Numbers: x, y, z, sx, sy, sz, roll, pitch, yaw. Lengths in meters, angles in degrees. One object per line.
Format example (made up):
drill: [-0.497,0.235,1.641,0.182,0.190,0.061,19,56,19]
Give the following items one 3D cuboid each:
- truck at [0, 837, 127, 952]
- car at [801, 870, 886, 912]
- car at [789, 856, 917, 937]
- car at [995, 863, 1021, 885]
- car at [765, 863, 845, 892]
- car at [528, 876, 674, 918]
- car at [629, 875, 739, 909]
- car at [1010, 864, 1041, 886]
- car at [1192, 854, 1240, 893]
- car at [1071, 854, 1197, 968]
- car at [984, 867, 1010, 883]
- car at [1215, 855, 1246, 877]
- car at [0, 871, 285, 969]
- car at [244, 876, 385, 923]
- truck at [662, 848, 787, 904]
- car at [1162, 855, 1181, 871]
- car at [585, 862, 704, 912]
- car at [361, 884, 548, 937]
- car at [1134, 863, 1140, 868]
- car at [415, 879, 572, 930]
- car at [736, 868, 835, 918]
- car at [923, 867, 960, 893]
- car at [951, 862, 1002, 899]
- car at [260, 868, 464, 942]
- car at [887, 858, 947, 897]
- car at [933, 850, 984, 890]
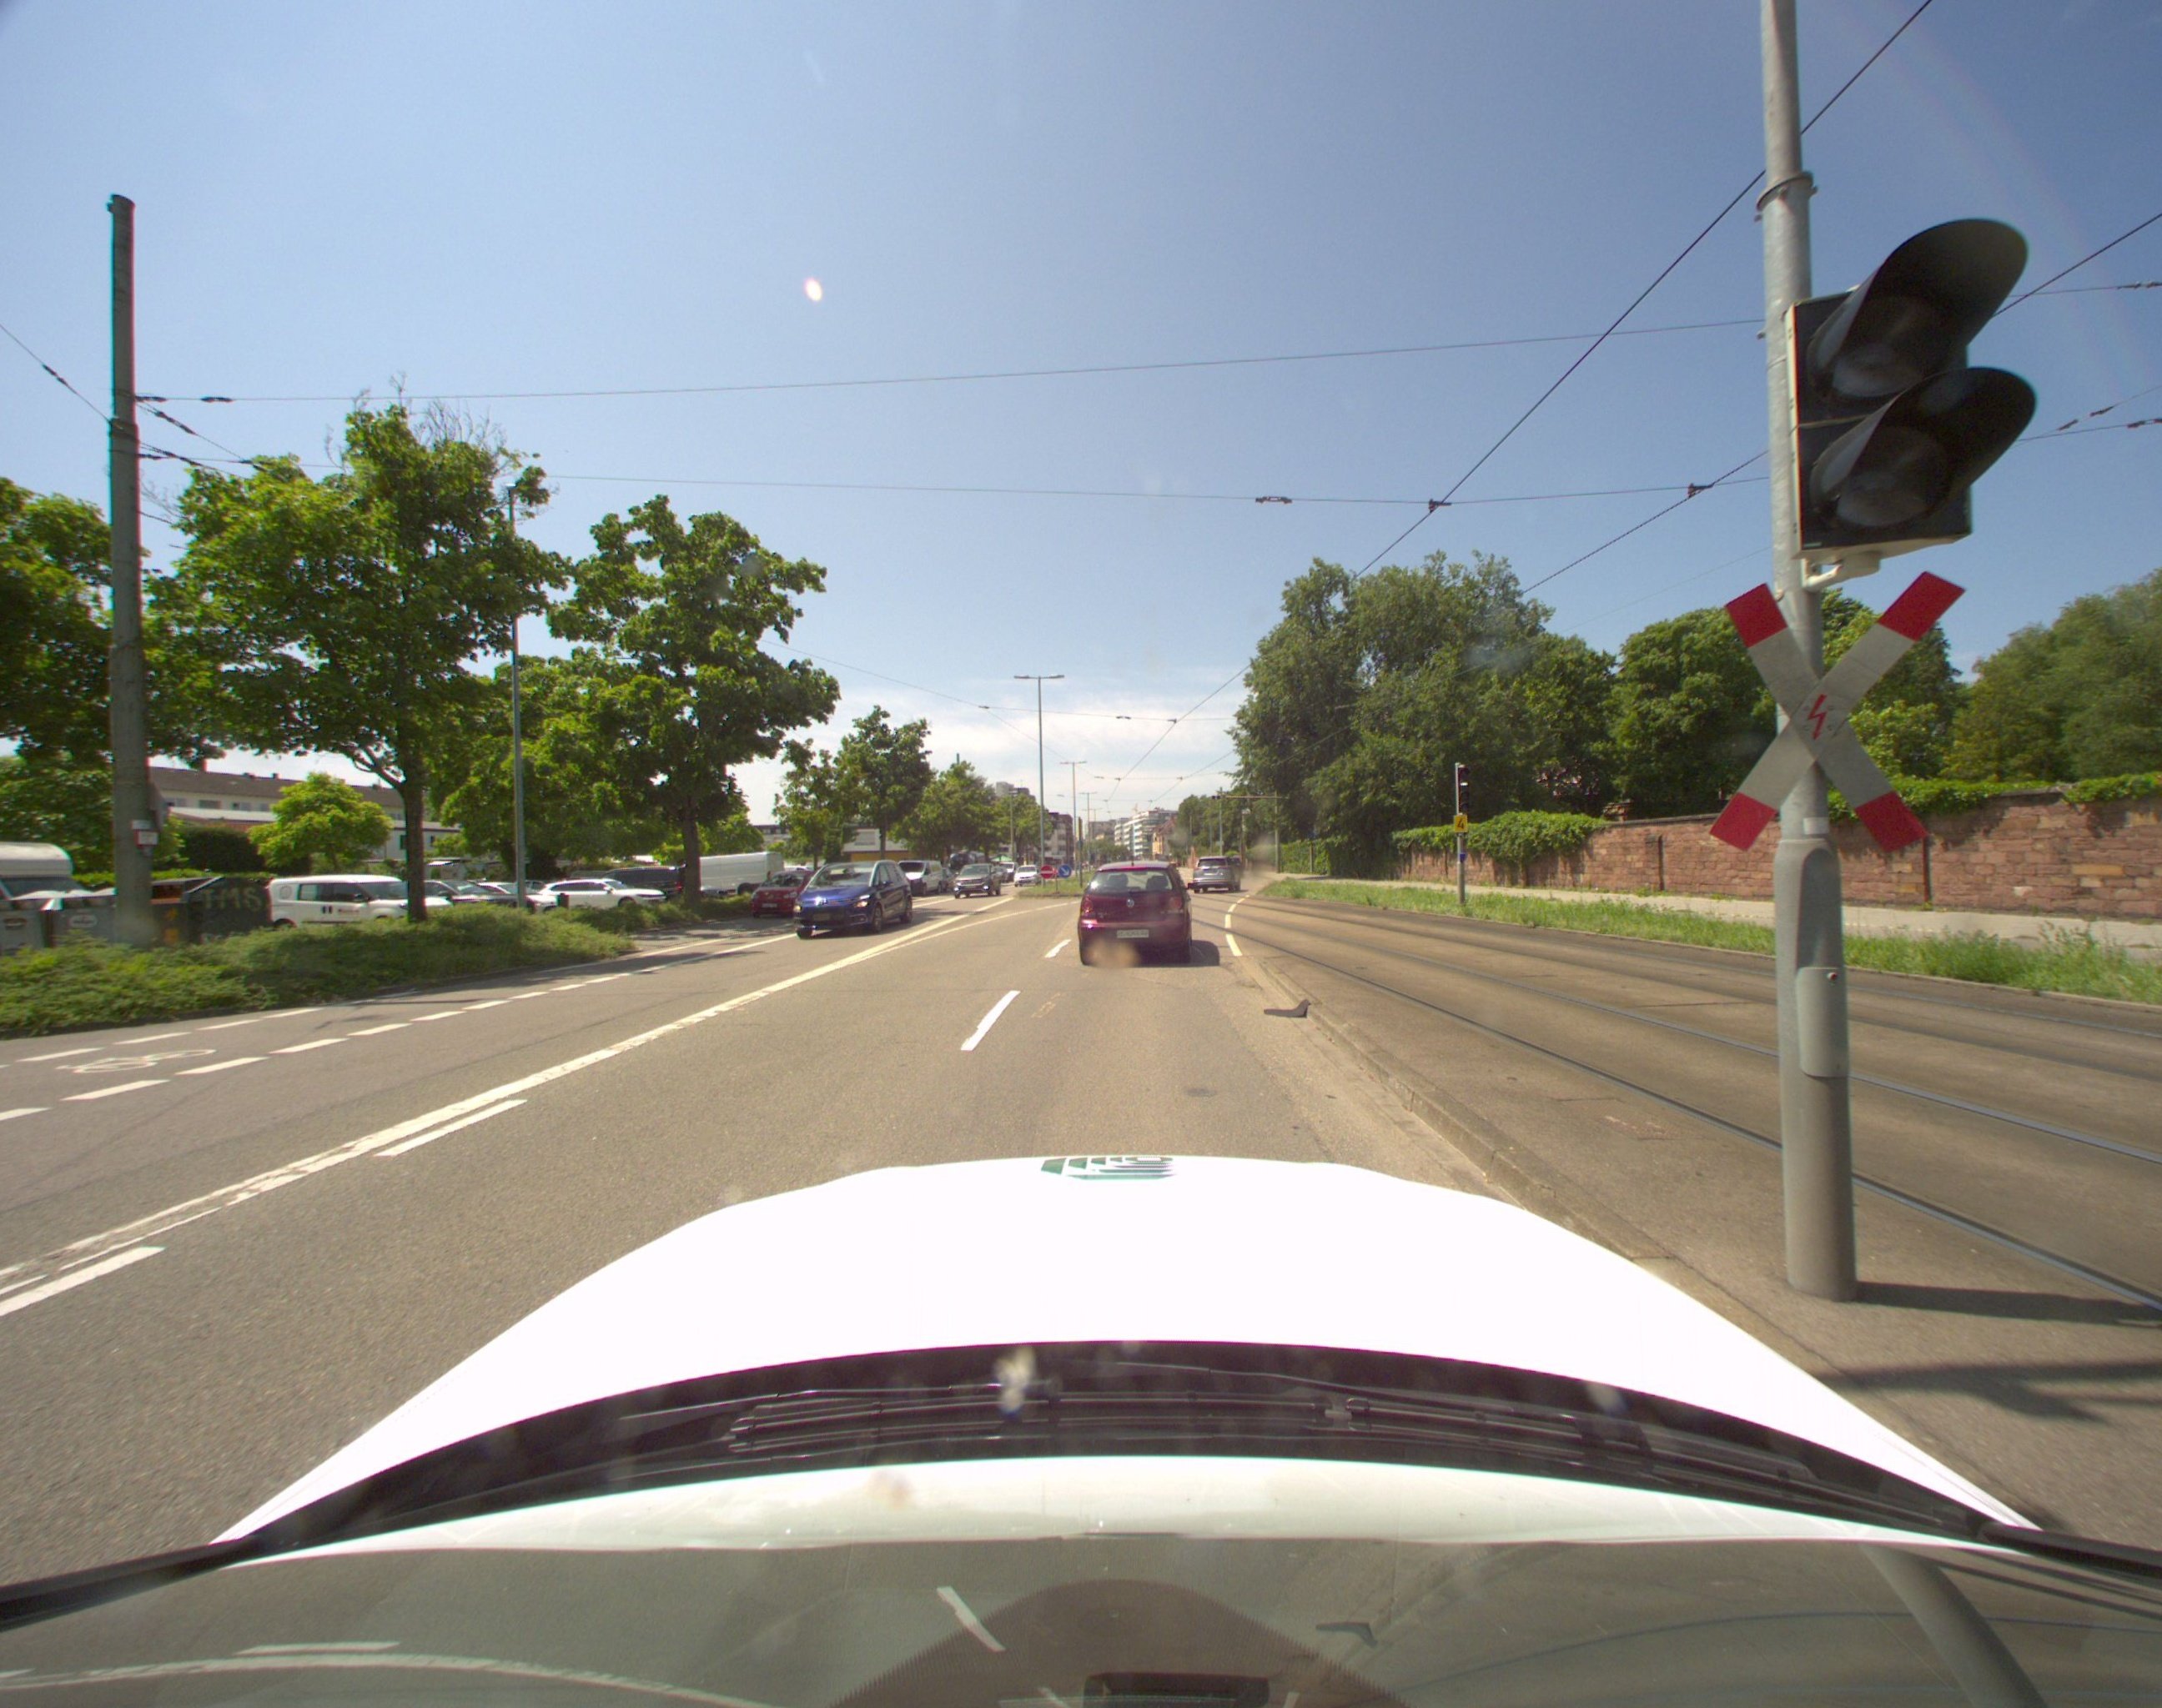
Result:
truck: [-32.999,1.209,24.088,6.954,3.228,2.150,-1,-1,0]
car: [-9.228,1.393,32.033,1.712,1.427,4.773,-1,-1,2]
car: [-5.307,0.933,19.490,1.731,1.657,4.068,-3,-1,2]
car: [-7.177,1.941,80.490,1.868,1.965,5.167,2,-1,2]
car: [-18.585,1.563,54.953,4.702,1.813,1.796,-2,-1,0]
car: [-19.642,1.749,33.475,4.745,1.488,2.058,-2,-1,0]
car: [-18.732,1.779,38.550,4.196,1.411,1.856,-2,-1,0]
car: [-3.770,1.444,56.187,1.642,1.376,3.813,-4,-1,2]
car: [6.271,0.854,37.530,1.782,1.683,4.016,-1,-1,15]
car: [0.998,0.806,13.182,1.600,1.498,4.010,-3,-1,9]
car: [-7.594,1.887,74.107,1.624,1.420,3.871,1,-1,4]
car: [11.416,0.893,62.394,1.768,1.631,4.001,0,-1,1]
car: [-20.653,1.396,17.814,4.431,1.857,2.061,-2,-1,1]
car: [-32.340,1.903,34.447,4.113,1.820,1.971,-1,-1,1]
truck: [-19.161,1.191,43.952,5.555,2.759,2.434,-2,-1,2]
car: [10.344,1.011,93.180,1.788,1.683,4.002,-2,-1,2]
car: [-19.297,1.440,36.091,4.196,1.995,1.856,-2,-1,0]
car: [-19.621,1.737,25.677,4.185,1.403,2.079,-2,-1,-3]
car: [13.747,2.807,200.972,1.348,1.252,2.974,0,-1,2]
car: [-20.354,1.730,28.326,4.104,1.508,1.934,-2,-1,4]
car: [-9.603,1.229,26.801,1.664,1.546,3.731,-1,-1,4]
car: [-8.444,1.529,49.553,1.399,1.440,3.841,2,-1,2]
car: [-4.862,1.189,38.261,1.731,1.575,3.714,-3,-1,2]
car: [-19.878,1.378,22.613,4.248,1.835,1.675,-2,-1,3]
car: [-8.788,1.204,44.037,1.854,1.937,4.811,2,-1,4]
car: [-8.599,1.101,57.661,2.389,2.656,6.175,2,-1,2]
